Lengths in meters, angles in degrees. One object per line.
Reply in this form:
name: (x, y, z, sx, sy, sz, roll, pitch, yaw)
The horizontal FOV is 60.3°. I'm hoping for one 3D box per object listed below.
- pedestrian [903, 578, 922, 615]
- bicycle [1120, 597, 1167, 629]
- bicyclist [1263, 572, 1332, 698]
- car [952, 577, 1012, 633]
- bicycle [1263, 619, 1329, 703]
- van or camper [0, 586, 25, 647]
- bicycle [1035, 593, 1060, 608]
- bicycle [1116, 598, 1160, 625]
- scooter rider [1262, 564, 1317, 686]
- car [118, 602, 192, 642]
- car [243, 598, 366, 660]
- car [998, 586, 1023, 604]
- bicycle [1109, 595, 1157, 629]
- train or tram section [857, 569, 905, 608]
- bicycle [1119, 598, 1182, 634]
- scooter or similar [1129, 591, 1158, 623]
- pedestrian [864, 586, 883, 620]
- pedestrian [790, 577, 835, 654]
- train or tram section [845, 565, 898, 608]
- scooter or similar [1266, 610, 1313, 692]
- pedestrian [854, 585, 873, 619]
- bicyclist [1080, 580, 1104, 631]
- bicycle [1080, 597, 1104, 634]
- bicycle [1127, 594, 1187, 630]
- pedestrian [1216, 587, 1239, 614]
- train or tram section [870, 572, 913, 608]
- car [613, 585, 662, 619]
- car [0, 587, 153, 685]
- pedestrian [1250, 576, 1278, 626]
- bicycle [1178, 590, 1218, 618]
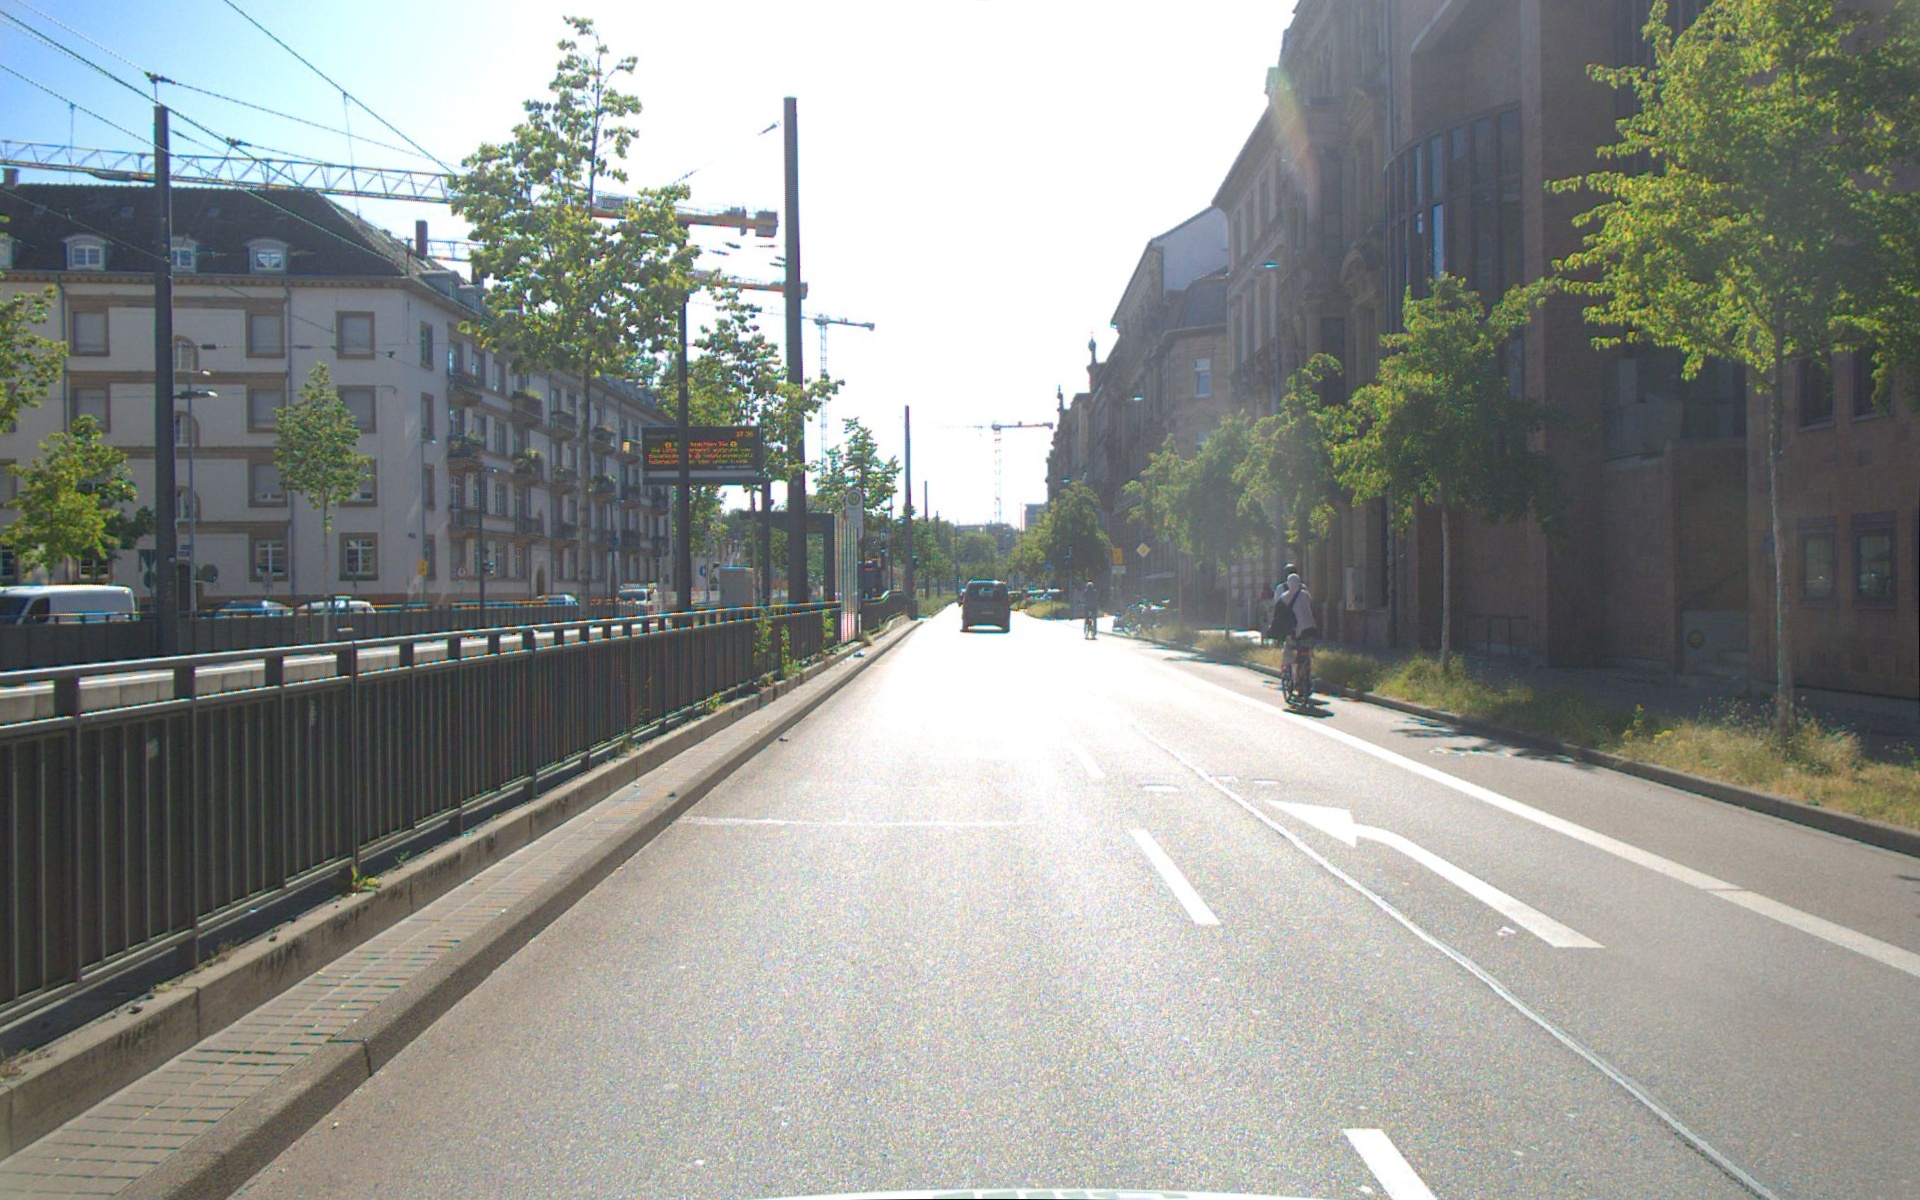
pedestrian: (-2.353, -0.155, 81.788, 0.848, 1.819, 0.969, 0, 0, -6)
bicycle: (6.591, 0.459, 59.439, 1.566, 1.063, 0.607, -3, 0, 3)
bicyclist: (4.775, 0.483, 23.420, 0.763, 1.741, 0.868, 1, 0, -1)
car: (0.792, 0.171, 61.922, 2.155, 1.960, 4.654, -1, 0, 0)
bicycle: (4.755, 0.842, 23.482, 0.546, 1.111, 1.792, 1, 0, 0)
van or camper: (-39.921, 0.691, 66.740, 1.958, 2.443, 5.941, -1, 0, -11)
bicycle: (6.371, 0.038, 120.240, 1.756, 1.048, 0.527, 0, 0, 0)
bicycle: (6.811, 0.427, 63.138, 1.634, 0.960, 0.607, -2, 1, 7)
scooter rider: (5.199, 0.384, 26.145, 0.653, 1.893, 0.901, 1, 0, -1)
car: (-32.693, 0.875, 67.284, 1.655, 1.548, 3.666, -1, 0, -9)
car: (-19.055, 0.836, 48.281, 1.953, 1.713, 4.000, 1, 0, 0)
car: (4.427, -0.420, 144.972, 1.986, 1.525, 4.654, -1, 0, 0)
bicycle: (6.375, 0.437, 60.994, 1.687, 1.120, 0.607, -3, 0, 3)
train or tram section: (-5.869, -0.822, 123.875, 2.699, 2.791, 9.866, 1, 0, 2)
bicycle: (6.530, 0.534, 56.755, 1.959, 1.111, 0.845, -3, 0, -10)
scooter or similar: (7.154, 0.273, 64.548, 1.087, 1.210, 0.419, -2, 0, 7)
pedestrian: (-3.993, 0.144, 76.502, 0.796, 1.563, 0.798, 0, 0, 2)
pedestrian: (-3.027, 0.314, 33.986, 0.796, 1.563, 0.798, -1, 0, 2)
train or tram section: (-6.038, -0.880, 114.028, 2.699, 2.791, 9.866, 1, 0, 2)
scooter or similar: (5.201, 0.787, 26.125, 0.480, 1.248, 1.170, 1, 0, -1)
pedestrian: (-4.528, 0.093, 77.594, 0.847, 1.563, 0.909, 0, 0, 0)
bicyclist: (4.423, 0.176, 55.408, 0.670, 1.702, 0.922, 1, 0, -1)
bicycle: (4.401, 0.512, 55.222, 0.589, 1.201, 1.869, 1, 0, 0)
bicycle: (6.916, 0.409, 58.128, 1.954, 1.148, 0.710, -3, 0, 1)
pedestrian: (12.416, 0.011, 76.753, 0.833, 1.235, 0.933, 0, 0, -7)
train or tram section: (-5.470, -0.762, 133.762, 2.699, 2.791, 9.866, 1, 0, 2)
car: (-17.722, 0.125, 90.998, 1.782, 1.826, 4.090, 1, 0, 2)
car: (-24.000, 0.869, 43.721, 1.951, 2.411, 5.650, 0, 0, 8)
pedestrian: (9.640, 0.035, 52.427, 0.694, 1.569, 0.927, -1, 0, 0)
bicycle: (10.841, 0.181, 75.360, 1.779, 1.191, 0.655, -1, 4, 4)
